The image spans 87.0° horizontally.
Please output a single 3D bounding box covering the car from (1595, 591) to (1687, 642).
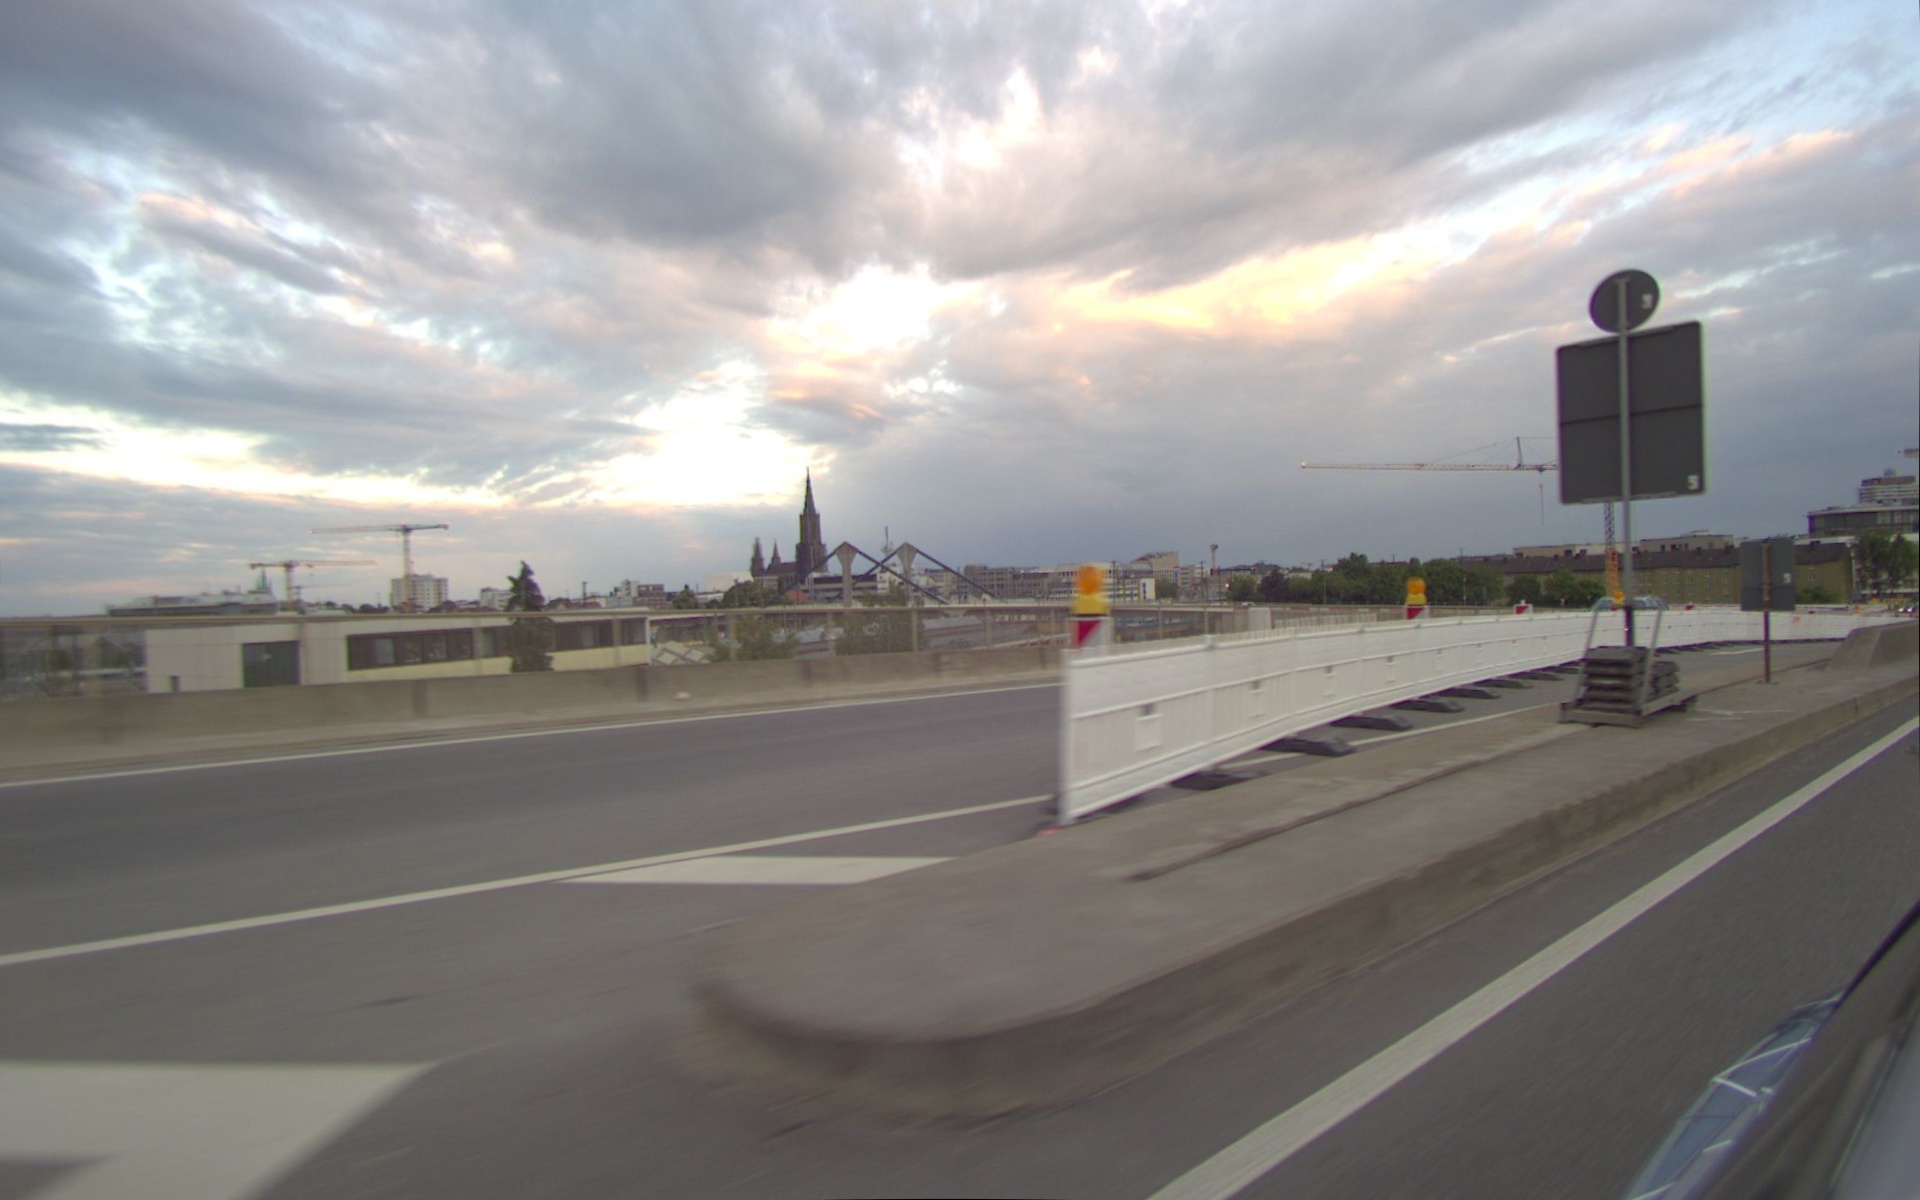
[{"bbox_3d":[21.362,0.474,31.691,1.749,1.510,3.937,-1,0,43],"label":"car"}]
